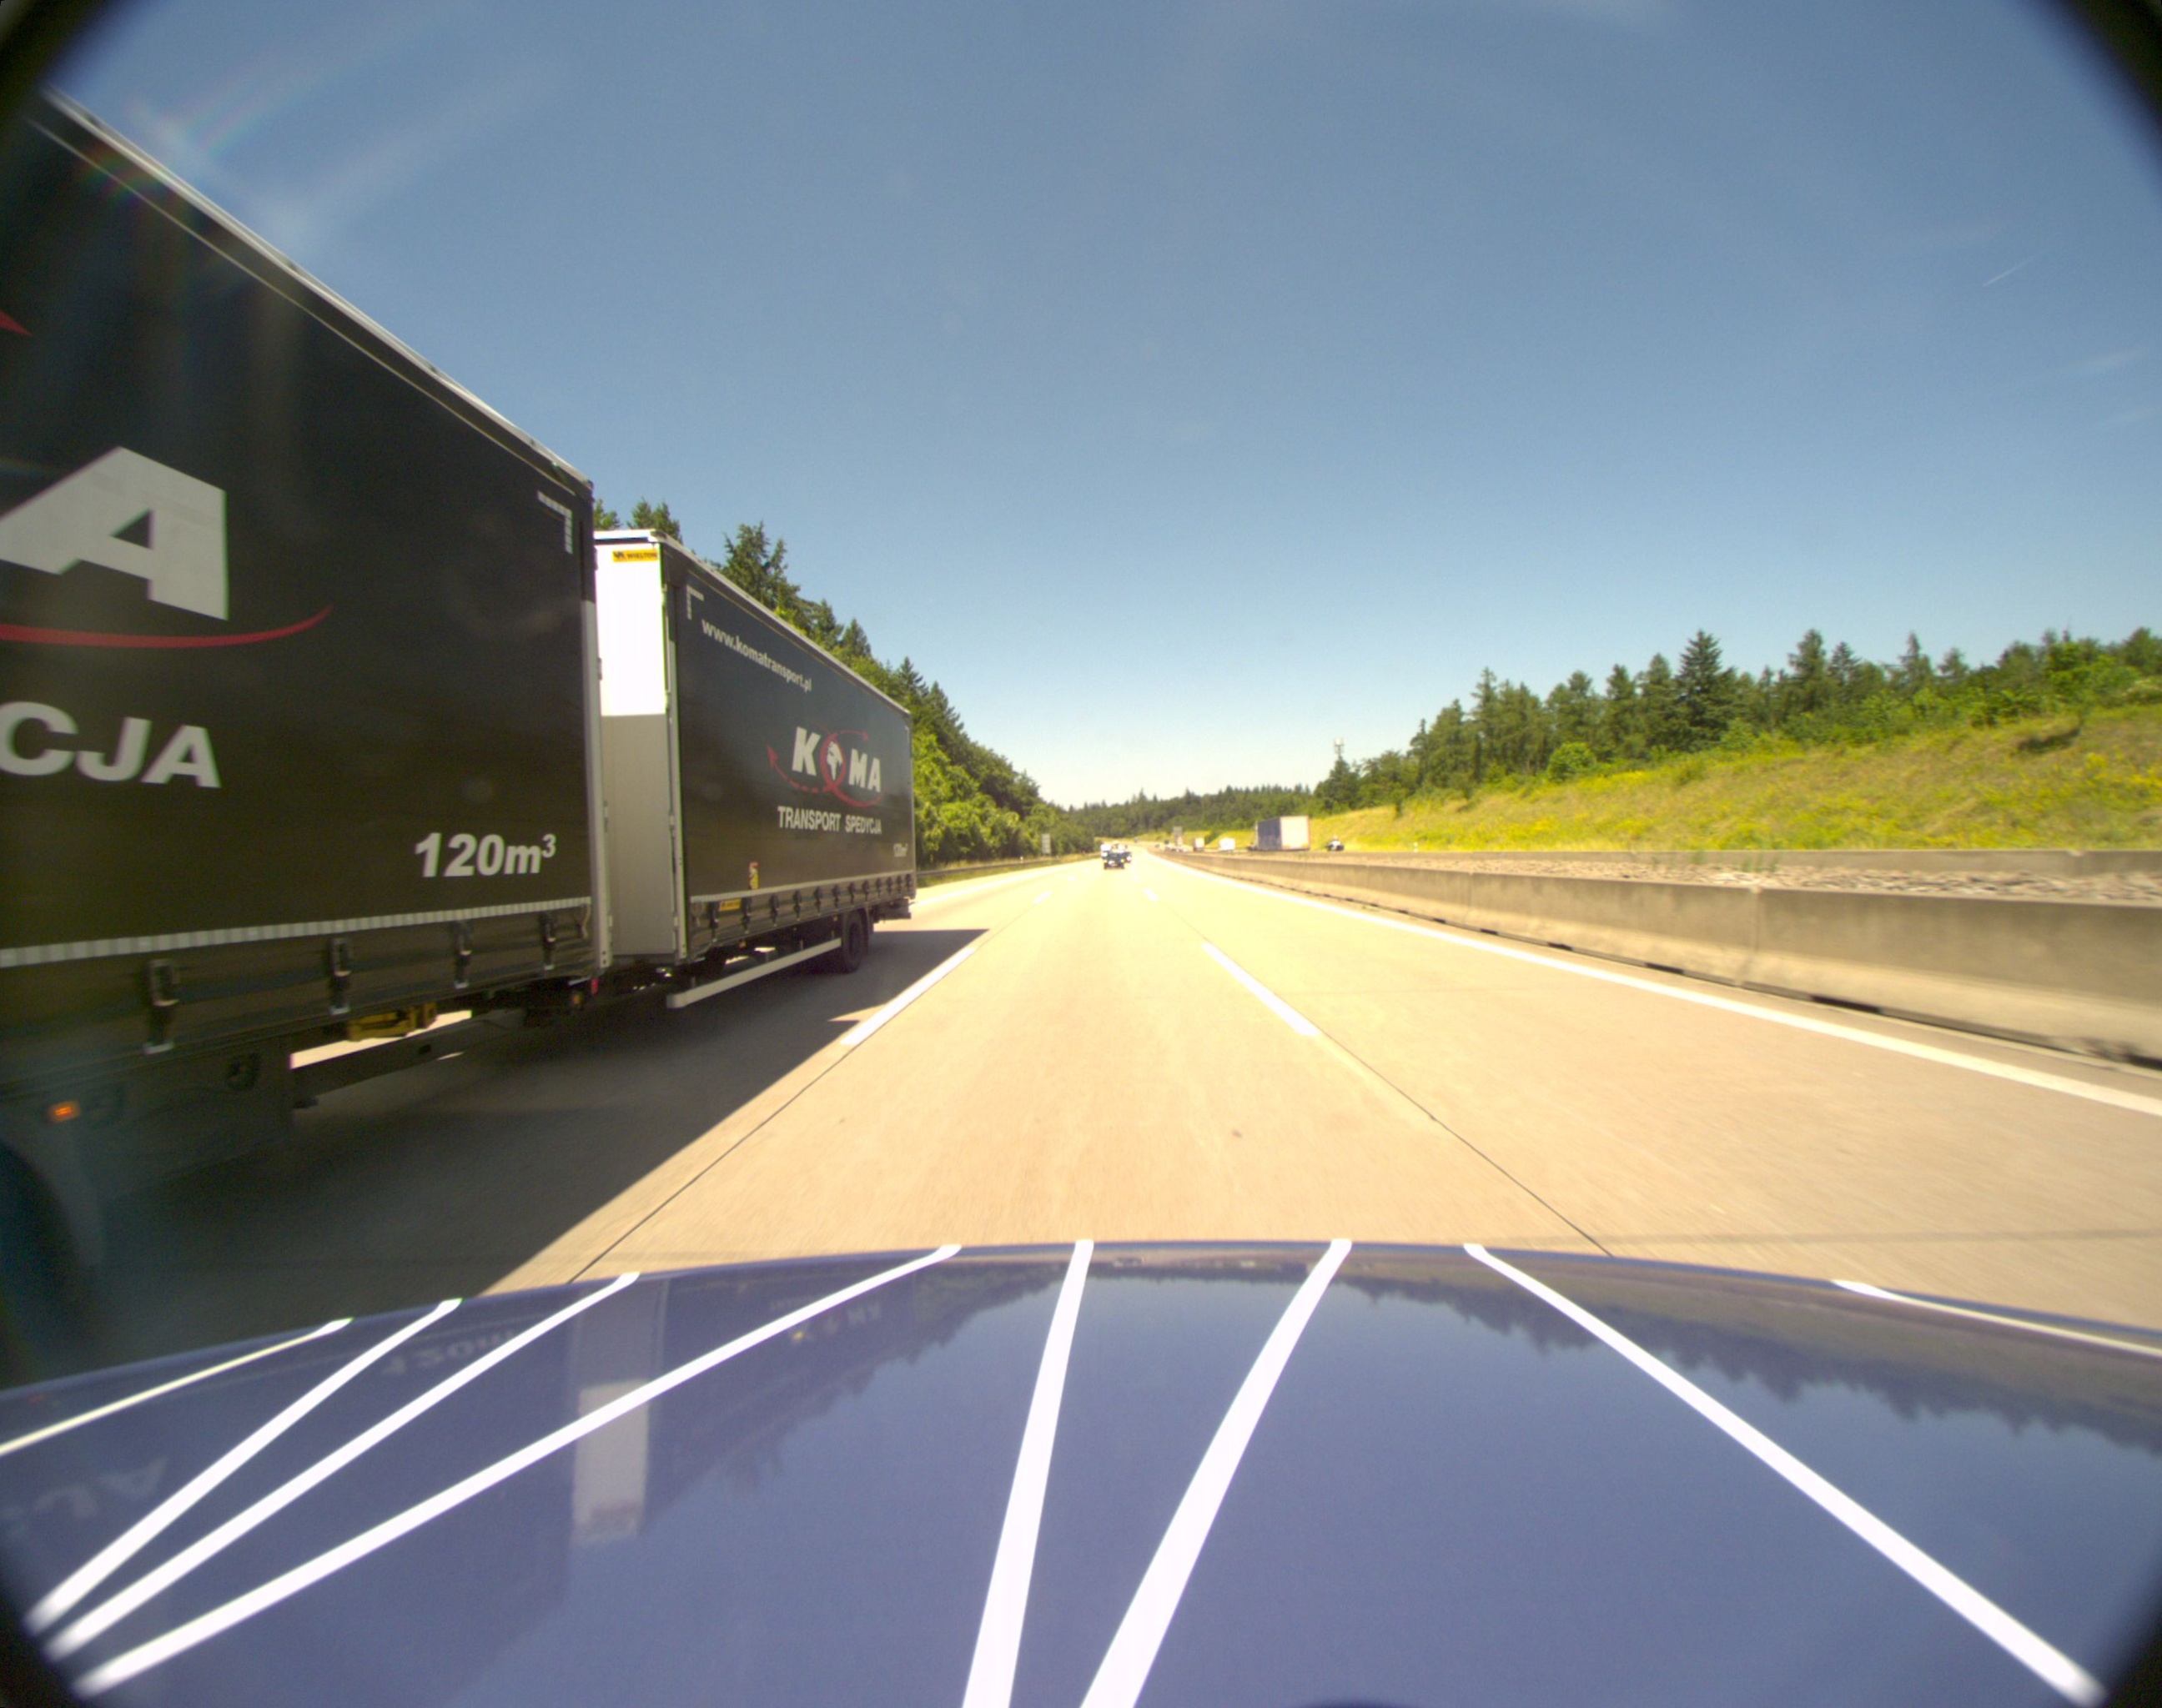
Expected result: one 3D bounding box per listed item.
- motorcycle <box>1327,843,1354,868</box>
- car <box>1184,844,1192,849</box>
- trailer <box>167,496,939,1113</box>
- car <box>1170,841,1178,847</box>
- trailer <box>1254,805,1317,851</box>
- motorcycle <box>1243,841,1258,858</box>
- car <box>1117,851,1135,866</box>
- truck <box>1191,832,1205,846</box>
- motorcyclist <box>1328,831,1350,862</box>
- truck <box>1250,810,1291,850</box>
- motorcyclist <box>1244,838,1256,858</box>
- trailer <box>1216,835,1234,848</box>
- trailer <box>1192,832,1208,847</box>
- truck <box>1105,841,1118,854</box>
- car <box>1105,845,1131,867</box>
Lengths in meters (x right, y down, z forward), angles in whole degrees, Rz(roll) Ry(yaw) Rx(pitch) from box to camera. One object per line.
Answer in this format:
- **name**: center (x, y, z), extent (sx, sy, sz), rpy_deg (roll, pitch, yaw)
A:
- **motorcycle**: center (14.623, 0.055, 42.862), extent (0.826, 1.364, 2.358), rpy_deg (-2, 1, 3)
- **car**: center (31.876, -2.221, 227.061), extent (1.998, 1.549, 4.499), rpy_deg (-3, 0, 4)
- **trailer**: center (-4.360, -0.355, 9.614), extent (3.142, 3.994, 9.087), rpy_deg (-2, 1, 1)
- **car**: center (29.513, -3.125, 241.298), extent (1.998, 1.549, 4.499), rpy_deg (-3, 0, 4)
- **trailer**: center (19.924, -2.436, 75.009), extent (3.168, 3.910, 13.868), rpy_deg (-4, 1, 4)
- **motorcycle**: center (16.065, -0.390, 72.096), extent (1.010, 1.540, 2.484), rpy_deg (-2, 1, 3)
- **car**: center (5.777, 0.577, 97.475), extent (1.998, 1.694, 4.400), rpy_deg (-4, 1, 6)
- **truck**: center (37.707, -4.822, 245.058), extent (3.394, 4.406, 6.801), rpy_deg (-4, 1, 4)
- **motorcyclist**: center (14.536, -0.436, 42.851), extent (0.694, 1.699, 1.525), rpy_deg (-2, 1, 3)
- **truck**: center (20.462, -2.572, 82.259), extent (3.168, 3.910, 5.837), rpy_deg (-4, 1, 4)
- **motorcyclist**: center (16.046, -0.544, 72.343), extent (0.820, 1.863, 1.492), rpy_deg (-2, 1, 3)
- **trailer**: center (30.058, -2.613, 158.938), extent (2.612, 2.616, 7.783), rpy_deg (-3, 0, 5)
- **trailer**: center (37.180, -4.671, 238.122), extent (3.394, 4.406, 13.925), rpy_deg (-4, 1, 4)
- **truck**: center (7.022, -1.502, 175.113), extent (2.483, 2.780, 5.916), rpy_deg (-4, 1, 6)
- **car**: center (3.278, 0.162, 66.559), extent (1.930, 1.694, 4.400), rpy_deg (-4, 1, 6)
